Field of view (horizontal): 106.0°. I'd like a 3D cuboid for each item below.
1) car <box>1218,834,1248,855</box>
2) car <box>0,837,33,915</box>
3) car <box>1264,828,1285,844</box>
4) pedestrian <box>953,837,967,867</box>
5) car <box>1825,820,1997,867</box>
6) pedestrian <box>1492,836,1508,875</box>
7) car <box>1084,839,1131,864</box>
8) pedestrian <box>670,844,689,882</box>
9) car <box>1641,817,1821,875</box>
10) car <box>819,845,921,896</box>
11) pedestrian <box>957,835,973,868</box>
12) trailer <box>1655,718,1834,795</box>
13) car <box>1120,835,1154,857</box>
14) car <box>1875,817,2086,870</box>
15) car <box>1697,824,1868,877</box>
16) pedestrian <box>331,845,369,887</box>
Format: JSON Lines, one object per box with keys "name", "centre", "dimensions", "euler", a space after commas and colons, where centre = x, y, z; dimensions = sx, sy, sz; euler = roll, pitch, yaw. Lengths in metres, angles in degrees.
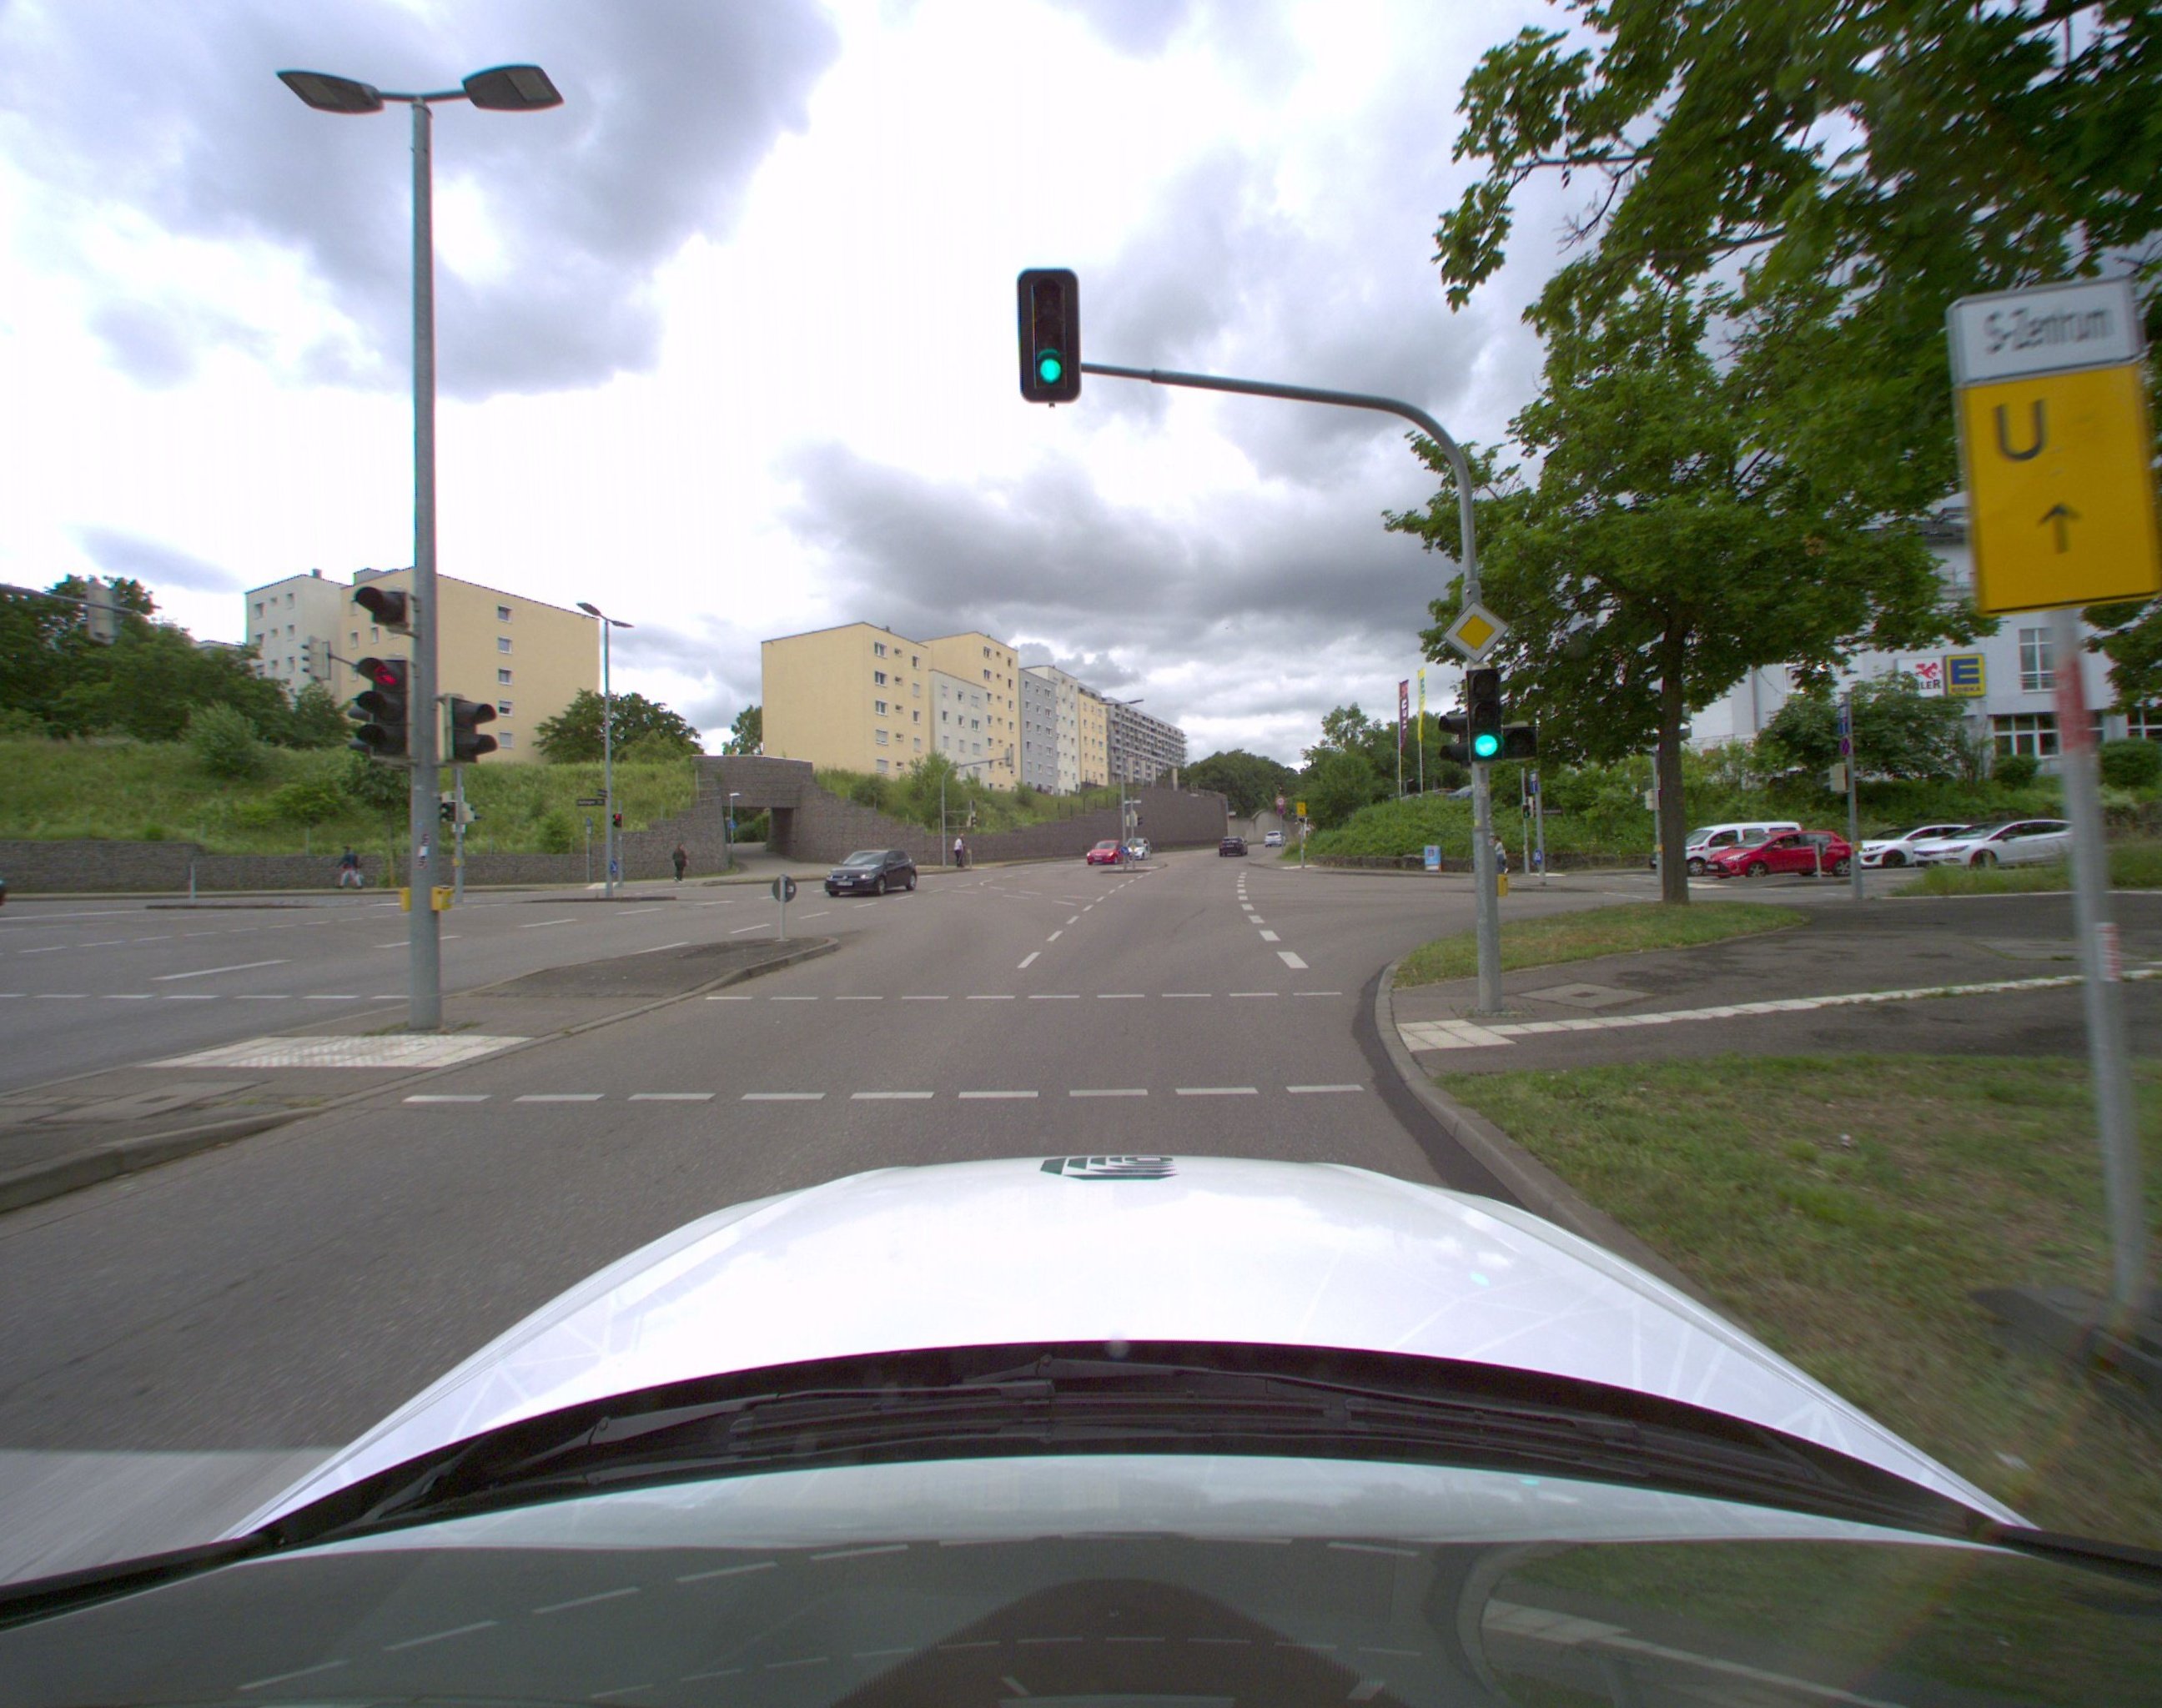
{"name": "car", "centre": [11.335, -0.674, 60.548], "dimensions": [1.741, 1.523, 4.054], "euler": [0, 0, 16]}
{"name": "car", "centre": [-25.962, 0.496, 17.418], "dimensions": [4.248, 1.728, 1.754], "euler": [0, 0, -10]}
{"name": "car", "centre": [18.946, -1.767, 79.700], "dimensions": [1.741, 1.523, 4.054], "euler": [0, 0, 16]}
{"name": "pedestrian", "centre": [-6.652, -0.109, 44.780], "dimensions": [0.618, 1.678, 0.667], "euler": [0, 0, 8]}
{"name": "car", "centre": [28.813, -0.350, 28.408], "dimensions": [3.799, 1.455, 1.970], "euler": [-2, 0, 7]}
{"name": "pedestrian", "centre": [17.464, 0.070, 33.952], "dimensions": [0.616, 1.608, 0.583], "euler": [0, 0, 27]}
{"name": "car", "centre": [1.696, -0.168, 50.660], "dimensions": [1.740, 1.523, 4.113], "euler": [0, 0, 19]}
{"name": "pedestrian", "centre": [-16.447, 0.362, 33.360], "dimensions": [0.626, 1.558, 0.574], "euler": [0, 0, -33]}
{"name": "car", "centre": [23.168, -0.273, 29.209], "dimensions": [4.682, 1.800, 1.956], "euler": [-2, 0, 7]}
{"name": "car", "centre": [-6.787, 0.475, 26.677], "dimensions": [1.744, 1.455, 4.078], "euler": [0, 1, 8]}
{"name": "pedestrian", "centre": [-6.472, -0.167, 45.519], "dimensions": [0.617, 1.827, 0.669], "euler": [0, 0, 18]}
{"name": "trailer", "centre": [32.508, -4.654, 40.207], "dimensions": [2.475, 3.055, 6.440], "euler": [0, 0, -25]}
{"name": "car", "centre": [3.941, -0.540, 56.942], "dimensions": [1.530, 1.523, 2.929], "euler": [0, 0, 21]}
{"name": "car", "centre": [27.827, -0.314, 25.333], "dimensions": [4.275, 1.455, 1.764], "euler": [-2, 0, 7]}
{"name": "car", "centre": [22.465, -0.101, 26.208], "dimensions": [3.799, 1.496, 1.764], "euler": [-2, 0, 7]}
{"name": "pedestrian", "centre": [-27.607, 0.425, 30.765], "dimensions": [0.903, 1.558, 0.794], "euler": [0, 0, -27]}
